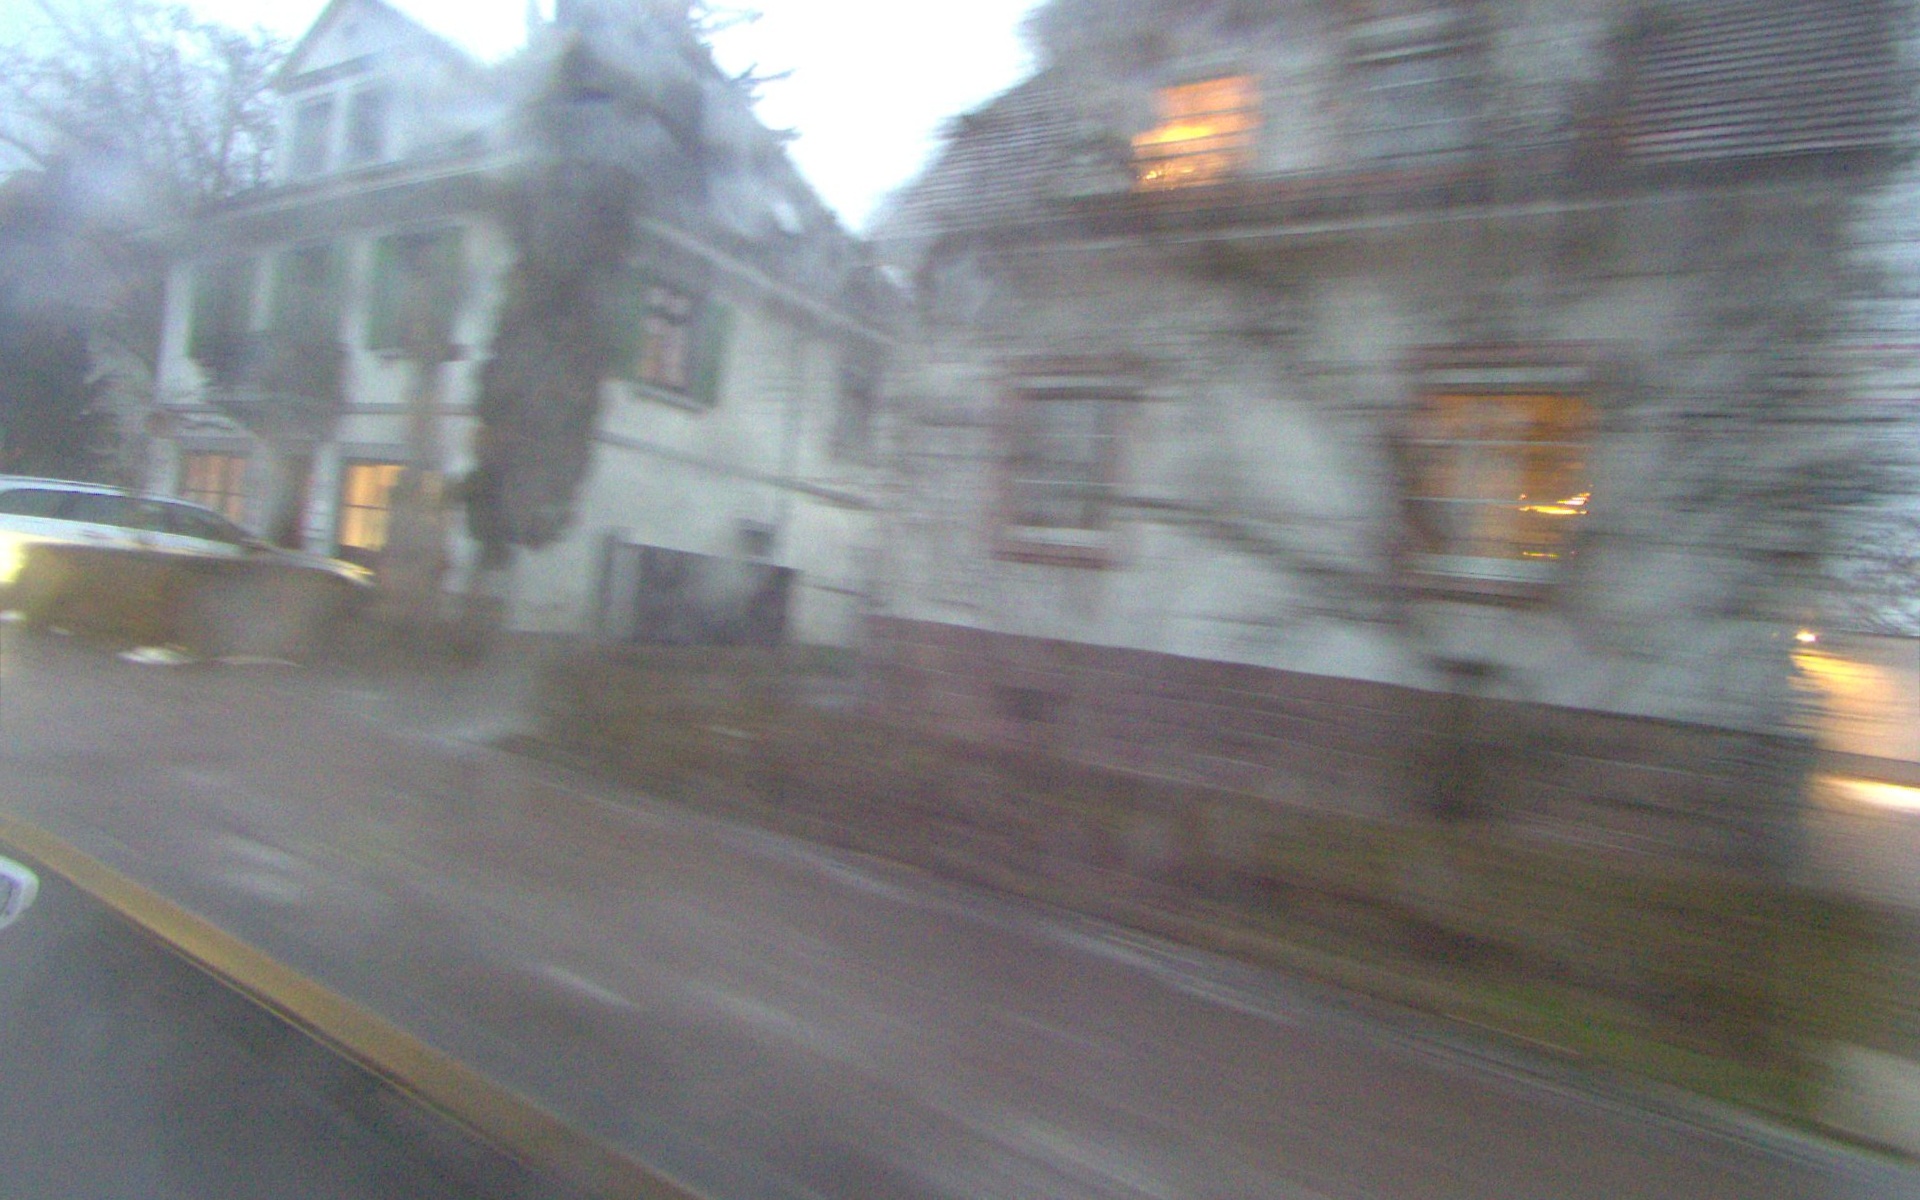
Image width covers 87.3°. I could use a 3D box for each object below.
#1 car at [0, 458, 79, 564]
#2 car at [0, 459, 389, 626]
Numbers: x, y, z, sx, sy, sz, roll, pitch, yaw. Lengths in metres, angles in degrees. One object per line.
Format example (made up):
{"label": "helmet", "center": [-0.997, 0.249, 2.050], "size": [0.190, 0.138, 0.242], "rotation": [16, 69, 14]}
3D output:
{"label": "car", "center": [-17.985, -1.751, 17.043], "size": [1.967, 1.726, 4.108], "rotation": [6, -1, 31]}
{"label": "car", "center": [-10.143, -0.687, 12.647], "size": [1.877, 1.650, 4.731], "rotation": [7, 1, 36]}
